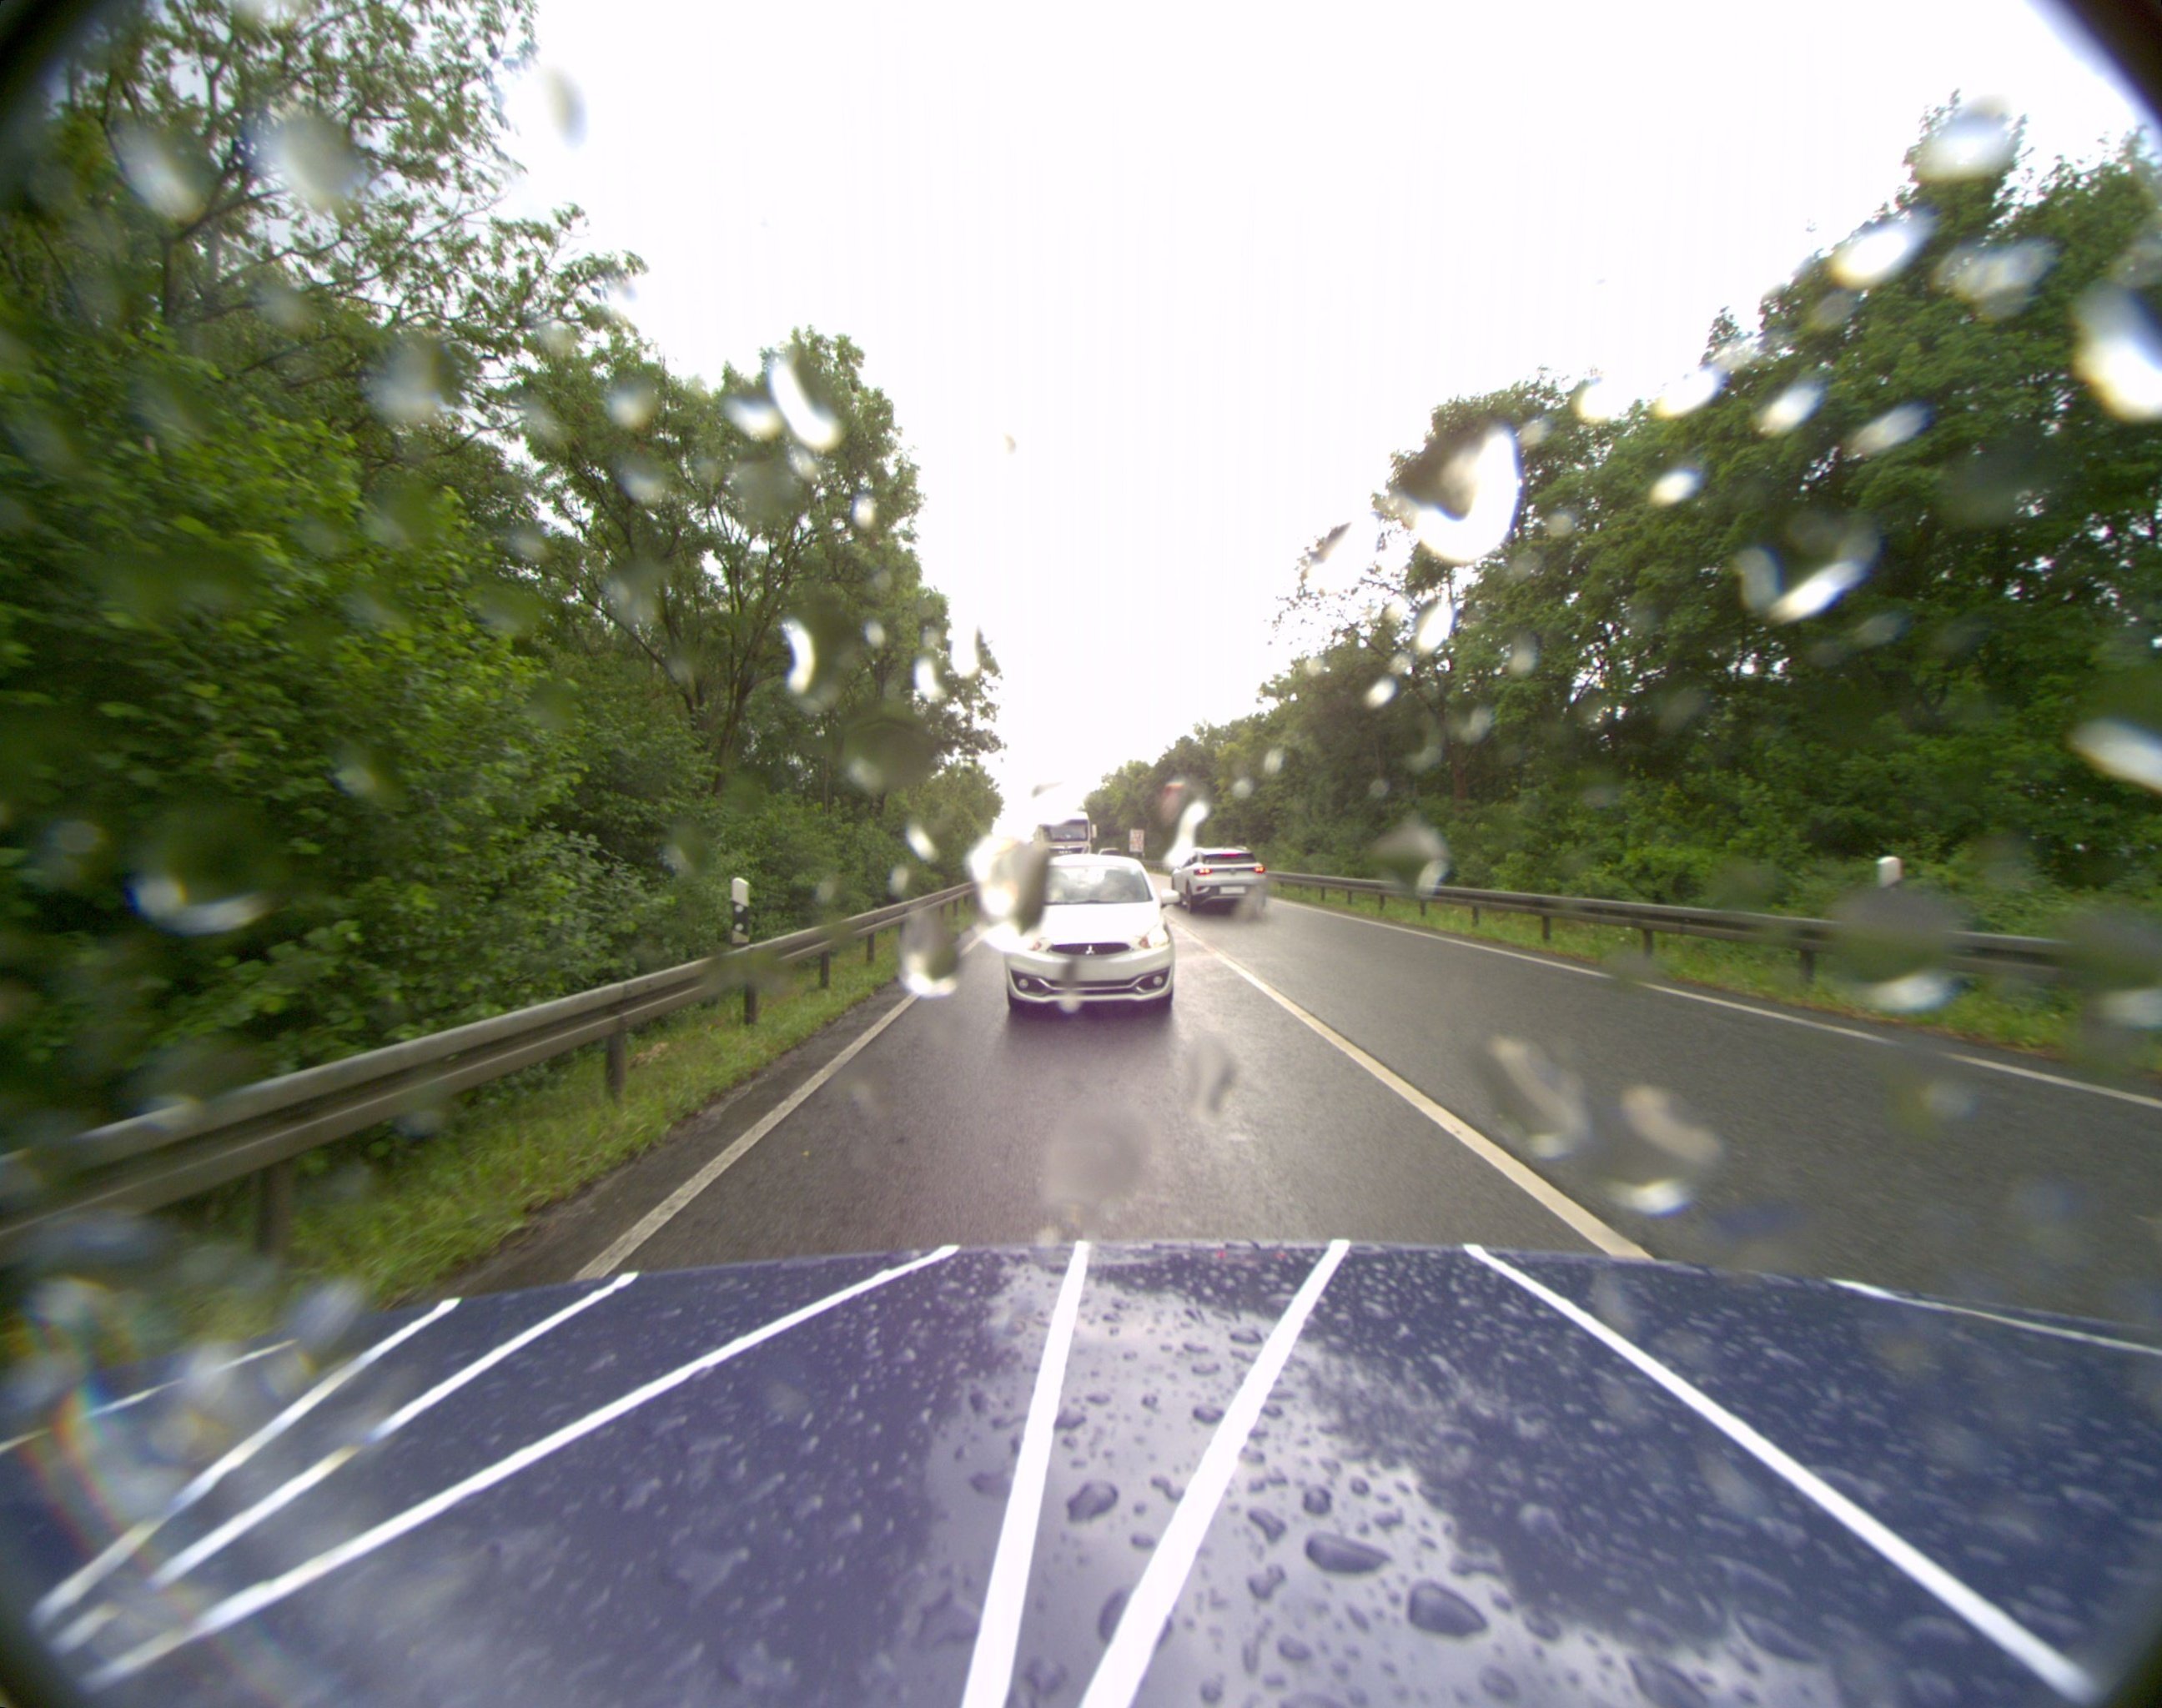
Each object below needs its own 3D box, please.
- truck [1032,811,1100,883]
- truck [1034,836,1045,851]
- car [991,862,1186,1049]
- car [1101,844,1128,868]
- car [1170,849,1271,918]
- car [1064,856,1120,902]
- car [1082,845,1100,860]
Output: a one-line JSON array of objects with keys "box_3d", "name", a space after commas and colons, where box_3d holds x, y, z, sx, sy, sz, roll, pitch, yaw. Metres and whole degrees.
[{"box_3d": [-0.994, -0.442, 41.183, 3.137, 3.364, 9.278, -2, 1, -4], "name": "truck"}, {"box_3d": [-8.734, -2.204, 159.834, 1.999, 3.023, 6.583, -2, 1, -3], "name": "truck"}, {"box_3d": [0.070, 0.888, 8.560, 1.610, 1.435, 4.208, -2, 1, 0], "name": "car"}, {"box_3d": [2.611, 0.125, 59.834, 1.820, 1.676, 4.621, -2, 1, -1], "name": "car"}, {"box_3d": [3.440, 0.671, 19.470, 1.811, 1.523, 4.206, -2, 0, 0], "name": "car"}, {"box_3d": [0.311, 0.804, 26.806, 1.641, 1.413, 4.490, -2, 0, -3], "name": "car"}, {"box_3d": [1.056, -0.173, 81.558, 1.733, 1.423, 3.848, -2, 1, -2], "name": "car"}]
